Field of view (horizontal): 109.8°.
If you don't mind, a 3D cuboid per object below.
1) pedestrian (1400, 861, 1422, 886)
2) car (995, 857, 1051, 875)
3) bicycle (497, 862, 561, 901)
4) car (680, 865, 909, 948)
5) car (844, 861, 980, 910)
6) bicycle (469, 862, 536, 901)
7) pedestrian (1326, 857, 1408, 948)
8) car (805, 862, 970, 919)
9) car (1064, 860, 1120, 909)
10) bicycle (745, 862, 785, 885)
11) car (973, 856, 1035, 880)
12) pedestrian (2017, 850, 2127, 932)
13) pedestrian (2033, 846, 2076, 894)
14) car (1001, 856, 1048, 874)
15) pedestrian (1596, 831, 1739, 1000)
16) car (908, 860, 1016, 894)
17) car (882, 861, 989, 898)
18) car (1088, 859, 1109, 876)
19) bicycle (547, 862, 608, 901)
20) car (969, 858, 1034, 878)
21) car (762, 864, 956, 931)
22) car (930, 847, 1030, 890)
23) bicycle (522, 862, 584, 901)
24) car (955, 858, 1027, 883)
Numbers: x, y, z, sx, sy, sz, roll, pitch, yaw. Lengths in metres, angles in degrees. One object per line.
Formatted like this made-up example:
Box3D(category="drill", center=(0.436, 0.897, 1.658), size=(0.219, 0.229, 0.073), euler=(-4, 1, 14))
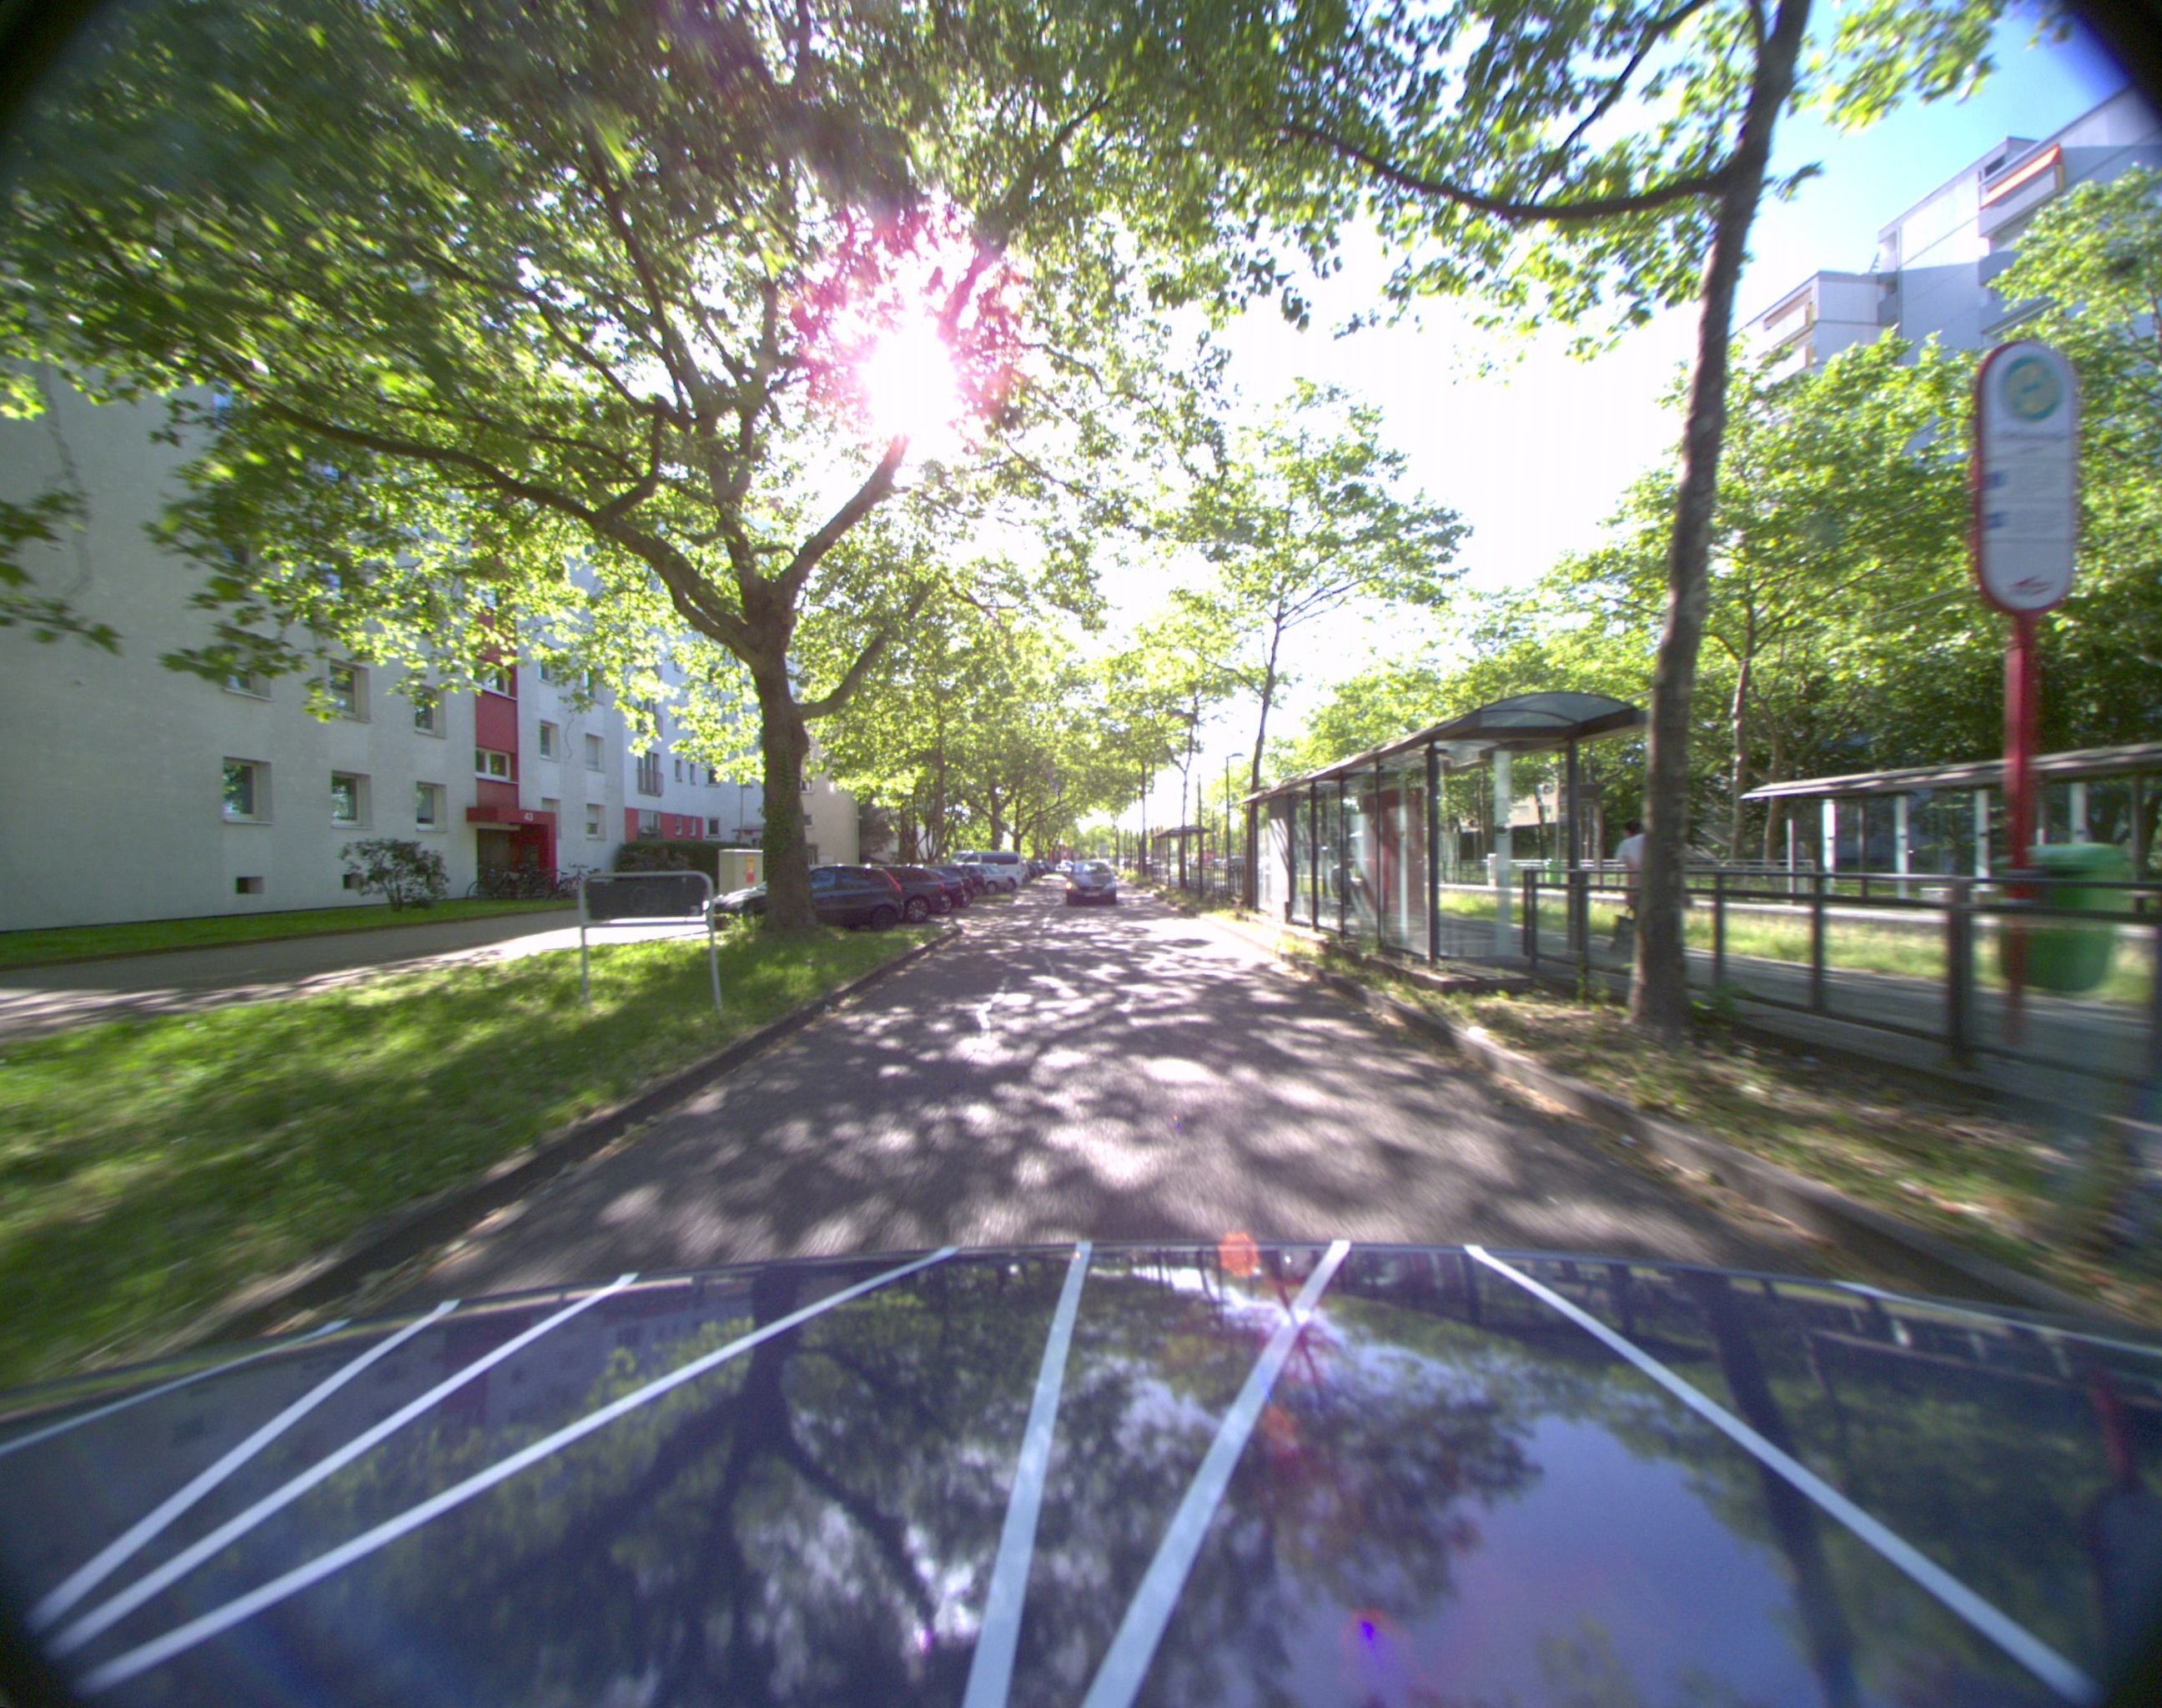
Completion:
Box3D(category="pedestrian", center=(16.209, 0.944, 37.304), size=(0.768, 1.176, 0.763), euler=(-1, 0, 1))
Box3D(category="car", center=(-4.869, 1.011, 64.123), size=(4.600, 1.414, 1.795), euler=(1, 0, -44))
Box3D(category="bicycle", center=(-16.540, 0.803, 22.809), size=(0.591, 1.101, 1.800), euler=(-1, 0, 1))
Box3D(category="car", center=(-5.790, 0.987, 15.654), size=(4.009, 1.453, 1.794), euler=(1, 0, -44))
Box3D(category="car", center=(-5.550, 1.015, 25.162), size=(4.009, 1.459, 1.777), euler=(1, 0, -42))
Box3D(category="bicycle", center=(-17.243, 0.808, 22.704), size=(0.591, 1.101, 1.800), euler=(-1, 0, 1))
Box3D(category="pedestrian", center=(4.110, 0.681, 10.979), size=(0.857, 1.235, 0.850), euler=(-2, 0, 2))
Box3D(category="car", center=(-5.557, 1.021, 22.109), size=(4.266, 1.453, 1.795), euler=(1, 0, -39))
Box3D(category="car", center=(0.382, 1.015, 26.817), size=(1.799, 1.580, 3.763), euler=(0, 0, 1))
Box3D(category="bicycle", center=(-16.220, 0.984, 39.017), size=(1.799, 1.123, 0.500), euler=(2, 0, -4))
Box3D(category="car", center=(-5.410, 0.989, 53.602), size=(4.009, 1.580, 1.795), euler=(1, 0, -42))
Box3D(category="pedestrian", center=(15.584, 0.568, 11.966), size=(0.780, 1.230, 0.722), euler=(-1, 0, -1))
Box3D(category="pedestrian", center=(33.930, 0.561, 26.483), size=(0.649, 1.651, 0.650), euler=(-1, 0, 1))
Box3D(category="car", center=(-5.096, 0.968, 68.785), size=(4.008, 1.566, 1.795), euler=(1, 0, -40))
Box3D(category="pedestrian", center=(5.209, 0.524, 6.789), size=(0.726, 1.409, 0.682), euler=(-2, 0, 0))
Box3D(category="car", center=(-5.399, 1.043, 34.776), size=(4.600, 1.415, 1.795), euler=(1, 0, -41))
Box3D(category="car", center=(-5.939, 1.031, 31.275), size=(3.932, 1.408, 1.795), euler=(1, 0, -42))
Box3D(category="car", center=(1.636, 1.243, 71.282), size=(1.799, 1.529, 4.000), euler=(0, 0, -1))
Box3D(category="bicycle", center=(-15.105, 0.792, 22.854), size=(0.591, 1.101, 1.800), euler=(-1, 0, 1))
Box3D(category="car", center=(-5.939, 1.056, 56.995), size=(4.418, 1.420, 1.946), euler=(1, 0, -39))
Box3D(category="car", center=(-5.477, 1.025, 19.002), size=(4.266, 1.453, 1.795), euler=(1, 0, -39))
Box3D(category="car", center=(-5.048, 0.733, 38.222), size=(4.600, 2.040, 2.012), euler=(1, 0, -39))
Box3D(category="bicycle", center=(-15.855, 0.811, 22.860), size=(0.591, 1.101, 1.800), euler=(-1, 0, 1))
Box3D(category="car", center=(-5.550, 1.019, 47.262), size=(1.794, 1.501, 4.222), euler=(2, 0, 43))
